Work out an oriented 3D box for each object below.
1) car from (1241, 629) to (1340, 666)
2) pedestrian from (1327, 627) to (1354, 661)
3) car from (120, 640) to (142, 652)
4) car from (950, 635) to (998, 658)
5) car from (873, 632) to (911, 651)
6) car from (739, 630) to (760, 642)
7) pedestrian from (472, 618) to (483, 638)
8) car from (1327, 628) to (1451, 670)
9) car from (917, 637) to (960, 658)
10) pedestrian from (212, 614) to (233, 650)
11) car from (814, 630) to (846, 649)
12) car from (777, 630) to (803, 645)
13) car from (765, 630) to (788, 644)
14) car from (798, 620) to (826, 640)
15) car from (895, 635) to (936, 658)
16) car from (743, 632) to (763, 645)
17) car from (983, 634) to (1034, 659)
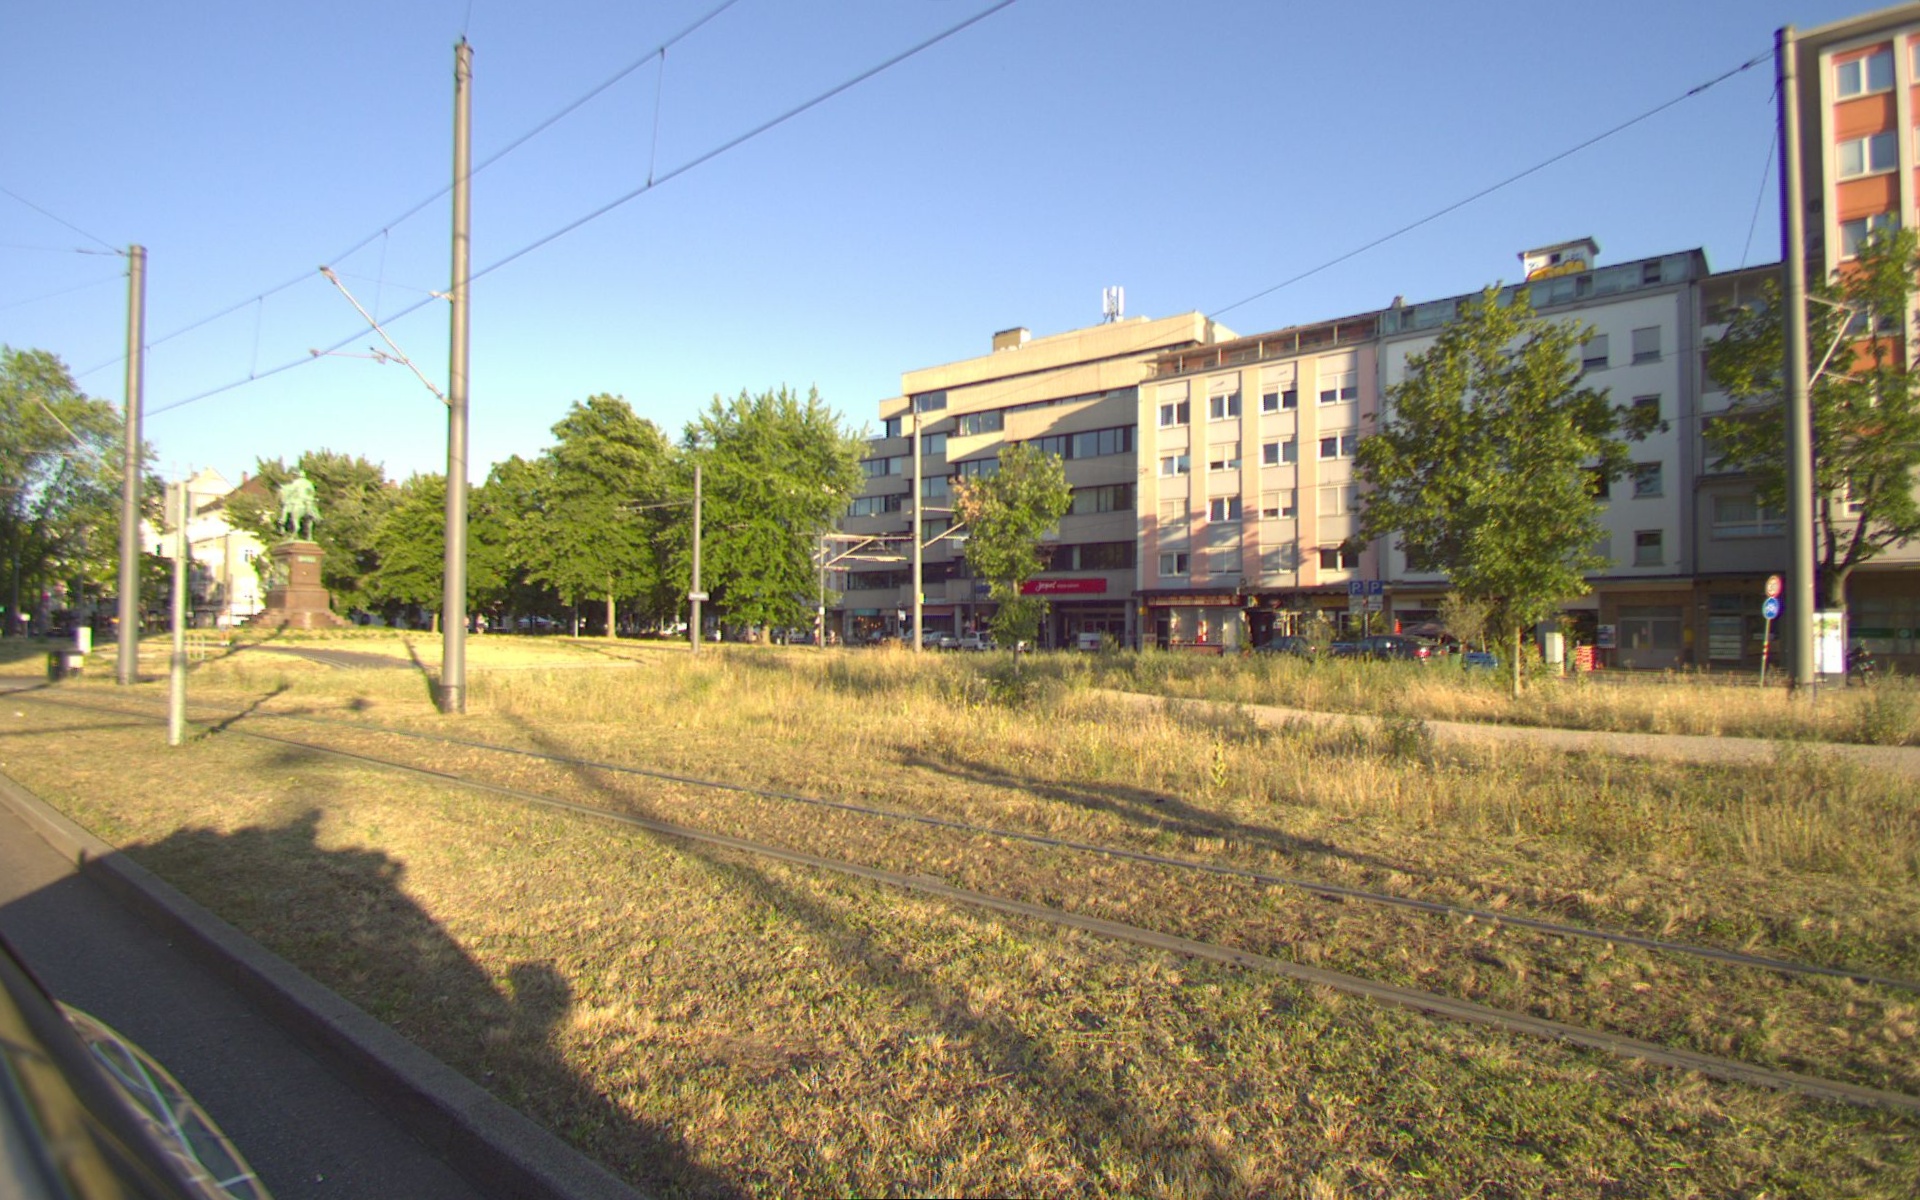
[{"bbox_3d":[14.402,2.073,44.303,1.729,1.538,4.012,1,-3,-27],"label":"car"},{"bbox_3d":[17.561,2.037,46.734,0.852,1.540,1.107,-3,-4,38],"label":"pedestrian"},{"bbox_3d":[-114.519,6.331,139.741,3.965,1.564,1.701,-3,-4,41],"label":"car"},{"bbox_3d":[0.970,3.336,71.582,1.729,1.564,4.012,1,-3,-27],"label":"car"},{"bbox_3d":[-5.955,3.614,87.820,1.833,1.569,4.081,1,-3,-27],"label":"car"},{"bbox_3d":[-25.588,4.397,122.890,1.681,1.401,4.013,1,-3,-25],"label":"car"},{"bbox_3d":[-39.152,2.290,82.071,0.553,1.593,0.611,-3,-4,42],"label":"pedestrian"},{"bbox_3d":[16.611,1.898,39.383,1.729,1.538,4.305,1,-3,-27],"label":"car"},{"bbox_3d":[-1.666,3.635,76.924,1.729,1.564,4.012,1,-3,-27],"label":"car"},{"bbox_3d":[-35.433,1.557,48.629,0.831,1.703,0.472,-1,-3,26],"label":"pedestrian"},{"bbox_3d":[-13.104,3.980,101.743,1.906,1.808,4.222,1,-3,-27],"label":"car"},{"bbox_3d":[-19.345,4.299,114.983,1.729,1.676,4.012,1,-3,-27],"label":"car"},{"bbox_3d":[-21.780,4.384,120.021,1.766,1.592,4.013,0,-3,-23],"label":"car"},{"bbox_3d":[-15.818,3.225,107.795,1.729,1.959,4.222,1,-3,-27],"label":"car"},{"bbox_3d":[-3.655,3.797,82.159,1.729,1.808,4.222,1,-3,-27],"label":"car"},{"bbox_3d":[-26.914,5.019,131.582,1.766,1.592,4.013,0,-3,-23],"label":"car"},{"bbox_3d":[3.142,3.078,66.927,1.729,1.564,4.013,0,-3,-24],"label":"car"}]
